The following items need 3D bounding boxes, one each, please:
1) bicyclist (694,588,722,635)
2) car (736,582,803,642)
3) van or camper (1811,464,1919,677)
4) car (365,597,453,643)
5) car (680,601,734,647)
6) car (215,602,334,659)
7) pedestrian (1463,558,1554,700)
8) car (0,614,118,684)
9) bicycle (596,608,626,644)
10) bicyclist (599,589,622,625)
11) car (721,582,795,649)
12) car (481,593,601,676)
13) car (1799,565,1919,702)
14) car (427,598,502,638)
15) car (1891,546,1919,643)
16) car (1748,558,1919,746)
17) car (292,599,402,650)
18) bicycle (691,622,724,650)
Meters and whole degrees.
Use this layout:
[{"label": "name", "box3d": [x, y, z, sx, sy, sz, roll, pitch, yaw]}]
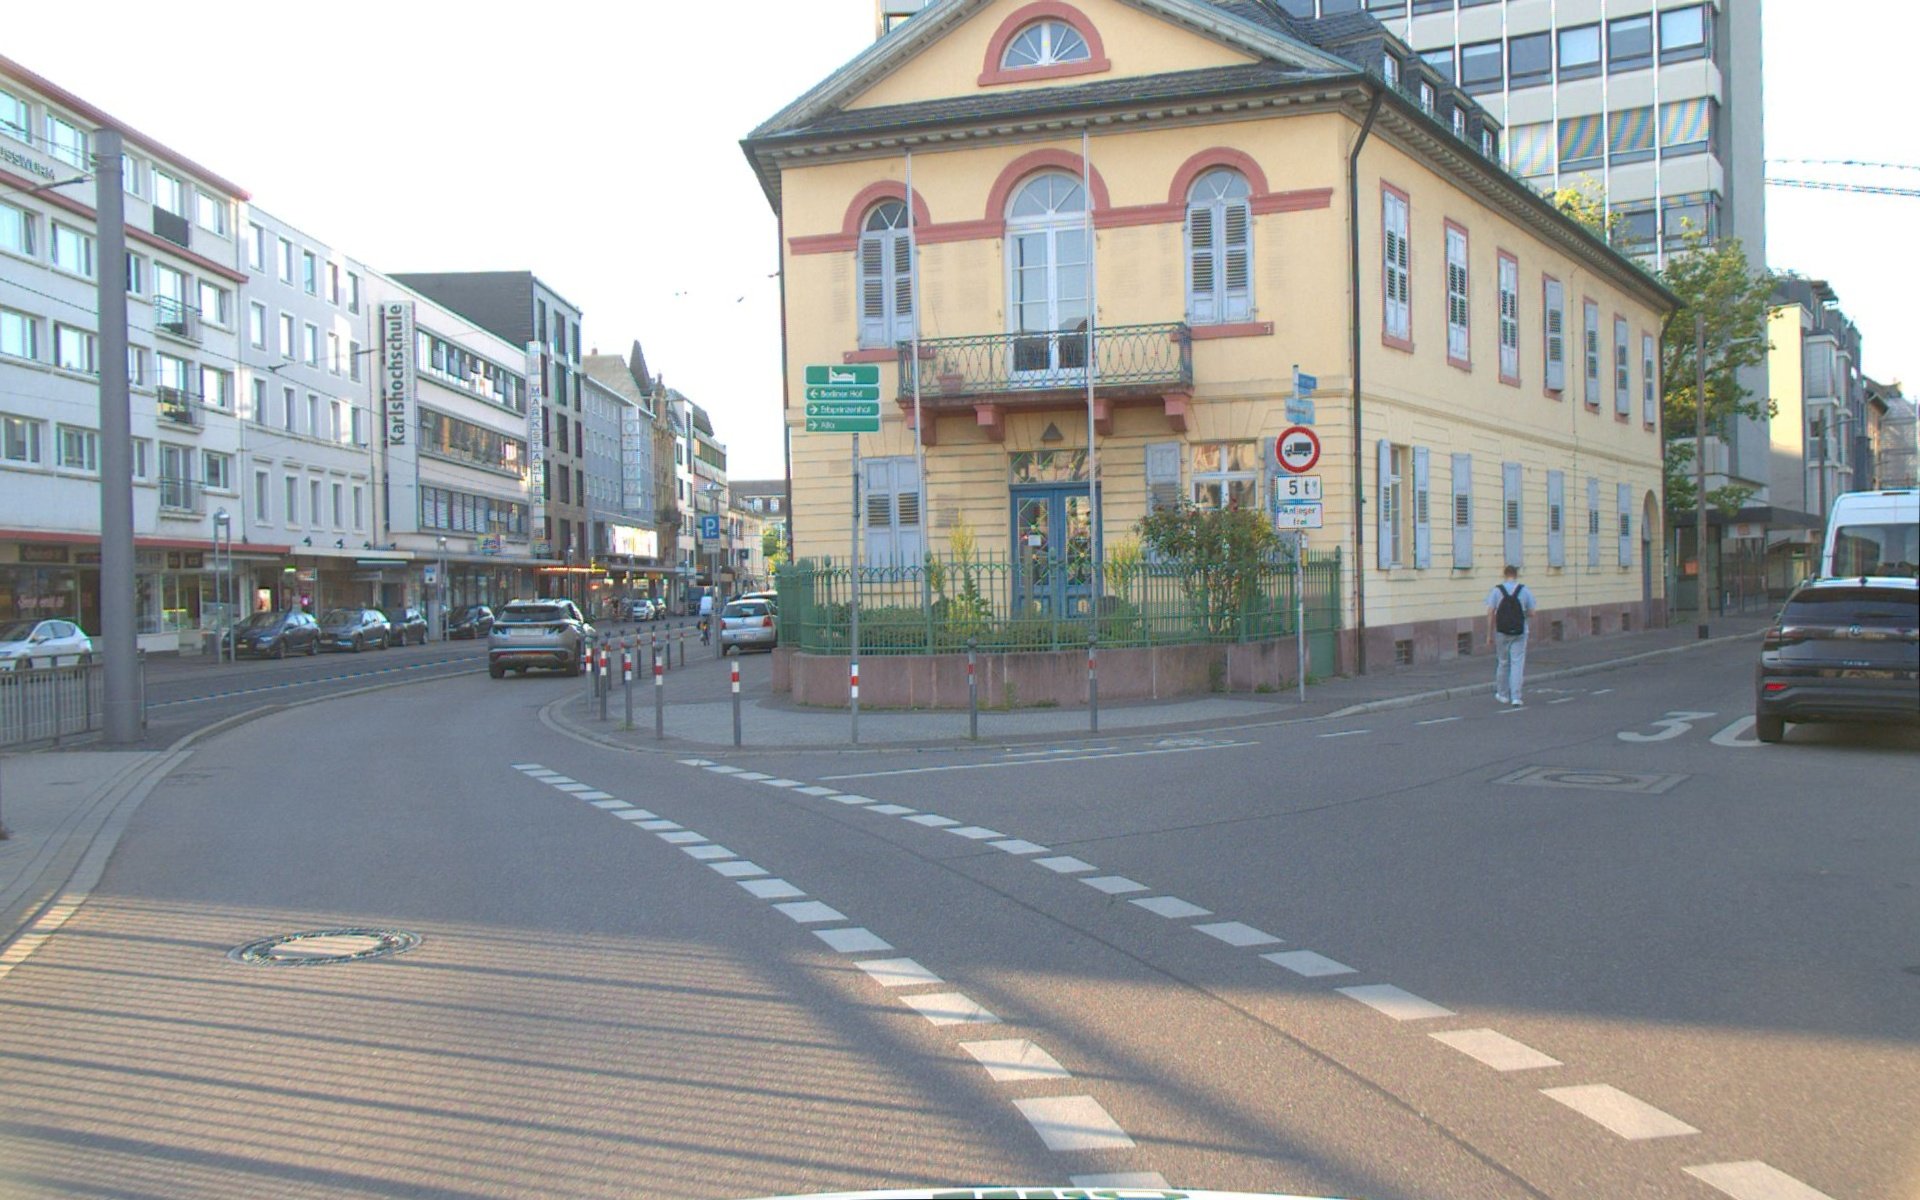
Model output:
[{"label": "bicyclist", "box3d": [-8.691, 0.408, 57.112, 0.813, 1.596, 0.787, -1, 0, -2]}, {"label": "car", "box3d": [-5.812, 0.351, 50.785, 1.697, 1.738, 3.804, -1, 0, -2]}, {"label": "van or camper", "box3d": [14.370, -0.437, 24.751, 2.041, 2.823, 6.428, -1, 0, 35]}, {"label": "car", "box3d": [-21.722, 0.757, 65.394, 1.952, 1.694, 4.002, -1, 0, 3]}, {"label": "car", "box3d": [-10.836, 1.000, 71.044, 1.771, 1.840, 3.999, -1, 0, -1]}, {"label": "car", "box3d": [-21.835, 0.932, 52.886, 1.952, 1.694, 4.002, -1, 0, 3]}, {"label": "pedestrian", "box3d": [6.984, 0.356, 21.041, 0.862, 1.754, 0.826, -1, 1, 38]}, {"label": "car", "box3d": [-21.972, 1.119, 38.830, 1.952, 1.490, 4.403, -1, 0, 3]}, {"label": "bicycle", "box3d": [-20.387, 1.507, 96.632, 1.156, 2.049, 3.340, -1, 0, -2]}, {"label": "bicyclist", "box3d": [-20.410, 0.413, 96.666, 1.143, 2.049, 1.045, -1, 0, -3]}, {"label": "car", "box3d": [-5.566, 0.405, 45.824, 1.697, 1.738, 3.438, -1, 0, -2]}, {"label": "car", "box3d": [-9.111, 0.698, 36.338, 1.906, 1.690, 4.530, -1, 0, -6]}, {"label": "car", "box3d": [11.258, 0.321, 19.775, 1.698, 1.454, 4.461, -1, 1, 33]}, {"label": "car", "box3d": [-22.196, 0.769, 74.193, 1.952, 1.694, 4.002, -1, 0, 3]}, {"label": "car", "box3d": [19.873, -0.153, 33.236, 1.683, 1.881, 4.009, -1, 1, 34]}, {"label": "car", "box3d": [8.753, 0.398, 15.796, 1.746, 1.570, 4.280, -1, 1, 32]}, {"label": "car", "box3d": [-21.787, 0.839, 58.966, 1.952, 1.694, 4.640, -1, 0, 3]}, {"label": "bicycle", "box3d": [-8.694, 1.226, 56.959, 0.812, 0.885, 2.548, -1, 0, -2]}]
